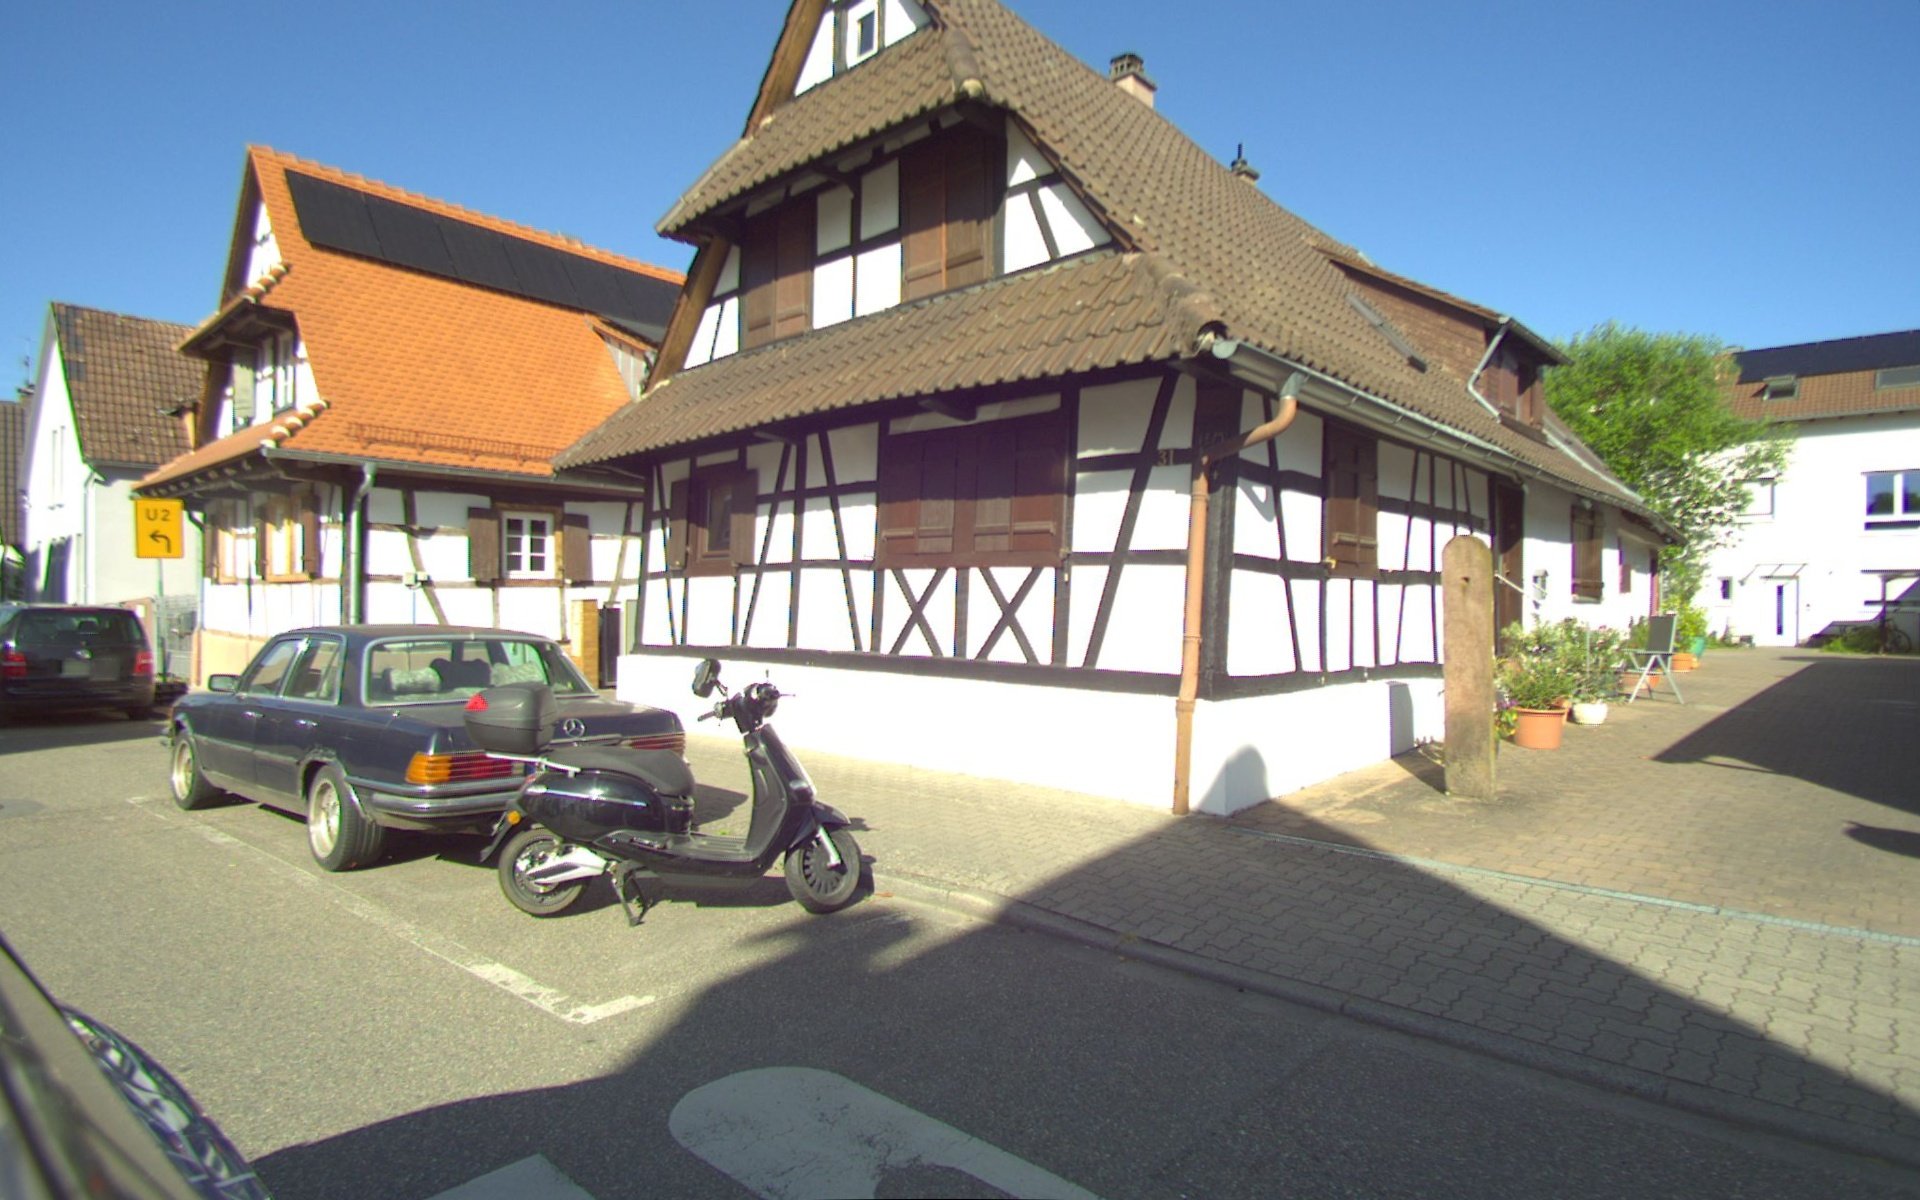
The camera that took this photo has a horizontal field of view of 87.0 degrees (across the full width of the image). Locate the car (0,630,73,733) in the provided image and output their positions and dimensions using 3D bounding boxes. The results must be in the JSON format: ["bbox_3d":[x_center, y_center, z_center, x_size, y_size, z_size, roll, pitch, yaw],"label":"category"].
[{"bbox_3d":[-17.065,1.355,17.581,4.163,1.578,1.798,0,-1,39],"label":"car"}]

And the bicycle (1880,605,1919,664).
[{"bbox_3d":[24.625,0.863,26.407,0.778,1.356,2.525,0,2,40],"label":"bicycle"}]

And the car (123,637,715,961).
[{"bbox_3d":[-4.037,1.025,7.090,5.031,1.417,1.826,0,-2,39],"label":"car"}]

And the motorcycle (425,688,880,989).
[{"bbox_3d":[-1.384,1.072,4.827,1.963,1.241,0.628,0,-2,-7],"label":"motorcycle"}]

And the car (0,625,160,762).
[{"bbox_3d":[-13.042,1.196,14.335,4.356,1.617,1.766,-1,-1,39],"label":"car"}]

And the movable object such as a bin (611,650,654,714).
[{"bbox_3d":[-5.217,1.299,16.118,0.524,0.950,0.466,0,1,42],"label":"movable object such as a bin"}]
